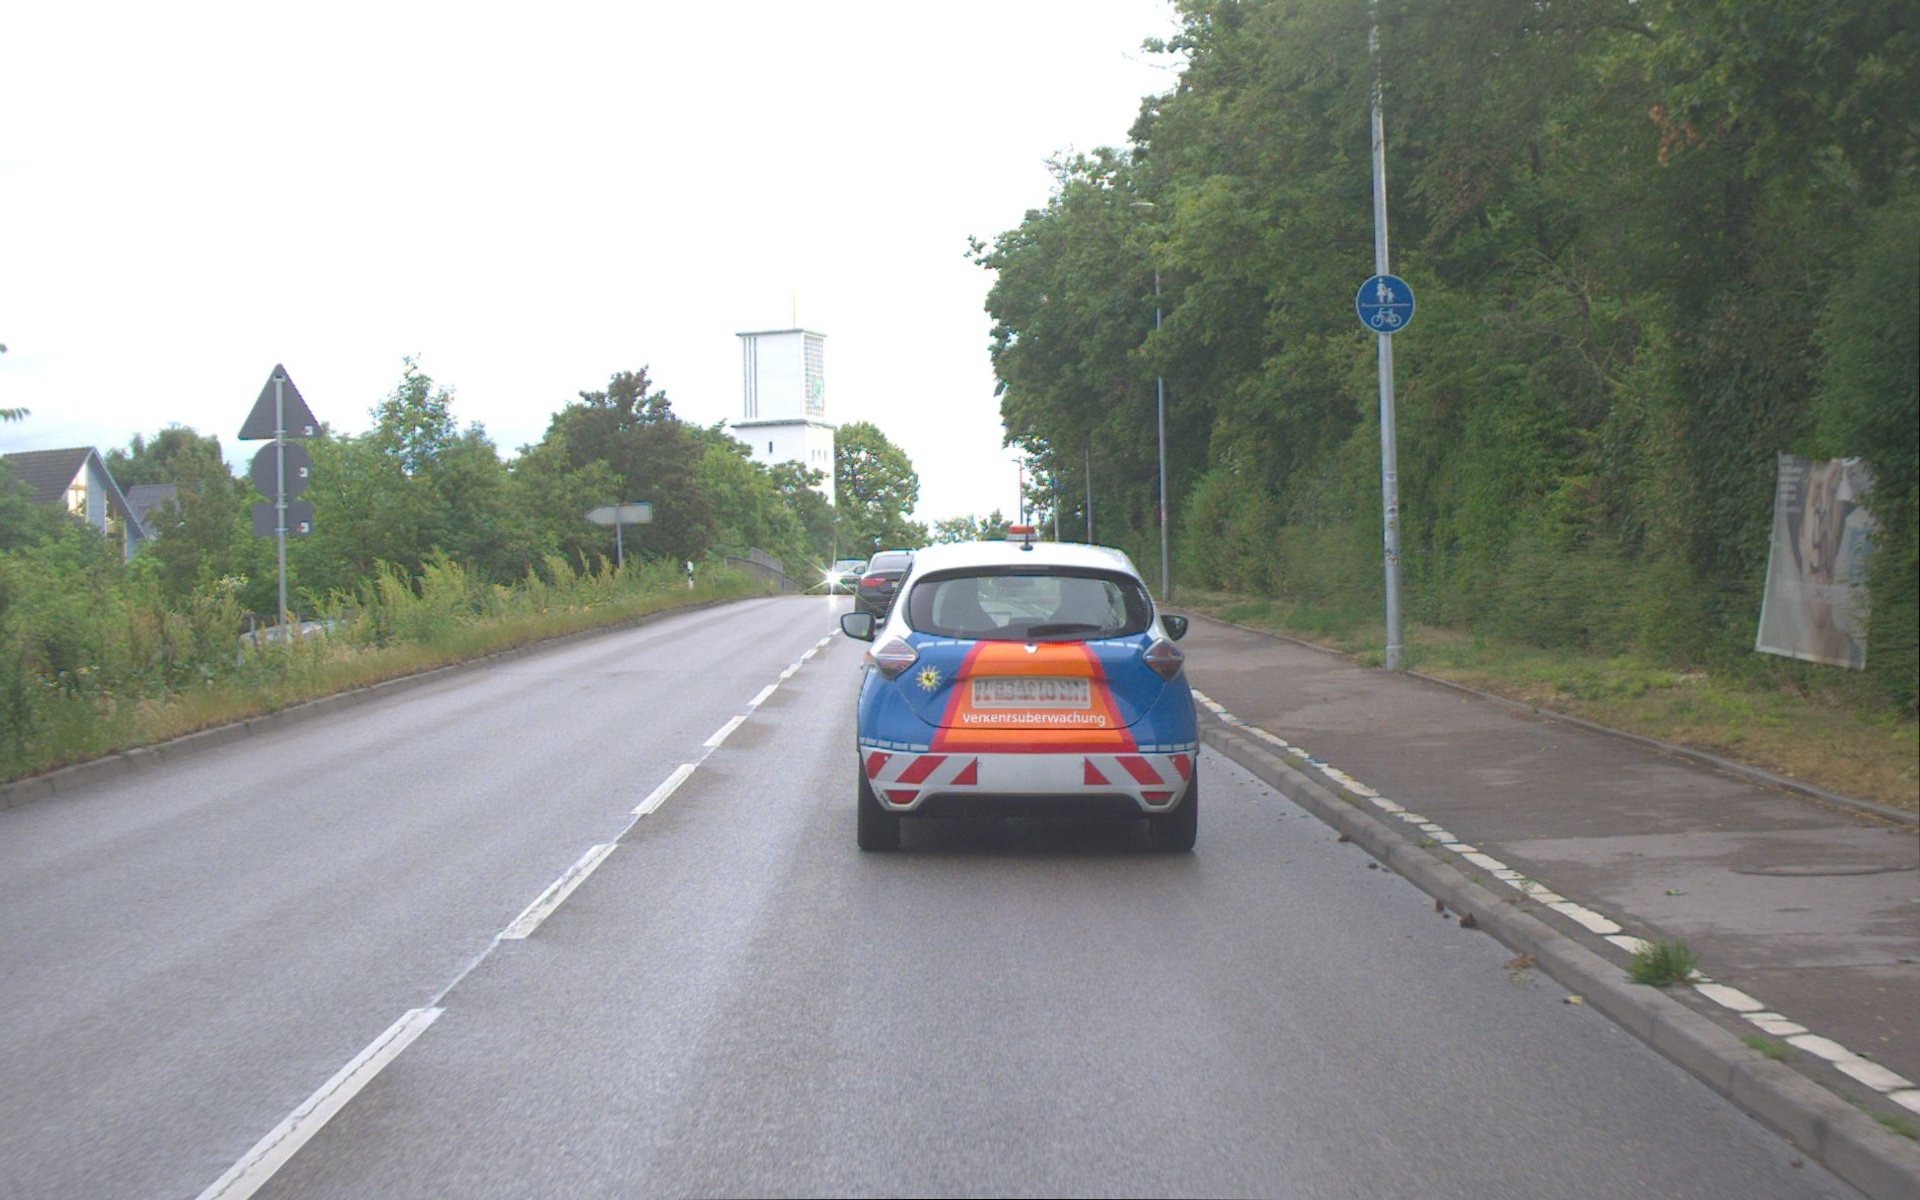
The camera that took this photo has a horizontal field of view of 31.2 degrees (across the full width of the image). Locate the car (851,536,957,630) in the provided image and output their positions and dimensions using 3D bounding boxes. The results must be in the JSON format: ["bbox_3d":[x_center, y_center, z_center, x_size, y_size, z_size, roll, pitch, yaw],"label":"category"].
[{"bbox_3d":[-1.015,-0.303,61.895,1.802,1.584,3.563,-2,0,-1],"label":"car"}]

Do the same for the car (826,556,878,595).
[{"bbox_3d":[-4.604,-1.047,146.671,1.869,1.580,4.414,1,1,3],"label":"car"}]

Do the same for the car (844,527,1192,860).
[{"bbox_3d":[0.263,0.457,18.266,1.657,1.587,3.568,0,0,0],"label":"car"}]
